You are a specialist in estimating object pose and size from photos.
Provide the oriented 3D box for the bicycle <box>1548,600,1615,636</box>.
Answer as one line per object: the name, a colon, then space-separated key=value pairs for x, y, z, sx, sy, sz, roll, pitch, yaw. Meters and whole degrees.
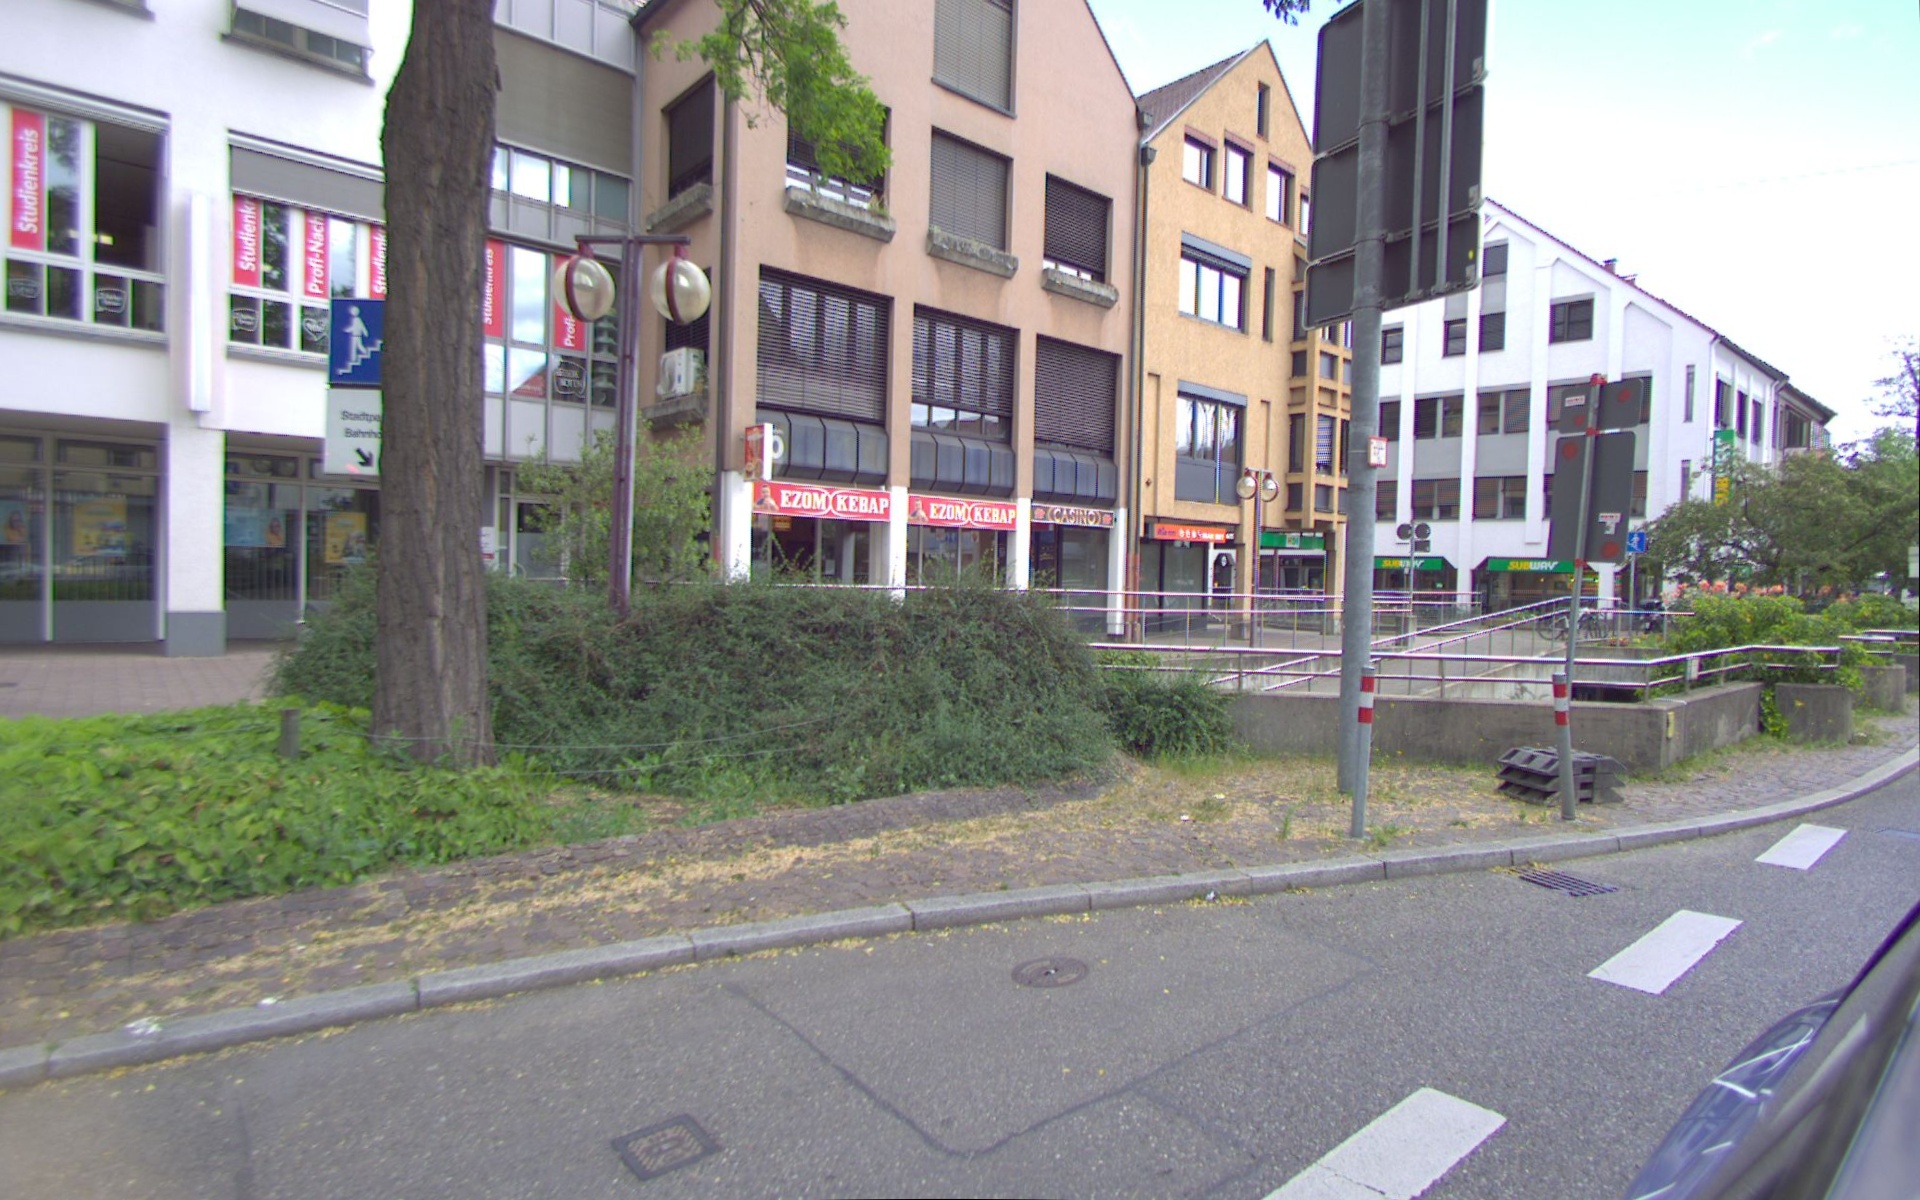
bicycle: x=17.856 y=0.505 z=29.081 sx=1.584 sy=0.981 sz=0.455 roll=2 pitch=1 yaw=36

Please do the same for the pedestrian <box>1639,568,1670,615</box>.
pedestrian: x=27.560 y=-0.326 z=40.167 sx=0.772 sy=1.846 sz=0.869 roll=0 pitch=0 yaw=-44

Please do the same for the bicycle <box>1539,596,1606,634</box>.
bicycle: x=17.397 y=0.424 z=28.764 sx=1.584 sy=1.014 sz=0.409 roll=2 pitch=1 yaw=37

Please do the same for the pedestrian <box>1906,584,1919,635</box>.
pedestrian: x=30.327 y=0.290 z=31.883 sx=0.672 sy=1.597 sz=0.653 roll=1 pitch=1 yaw=-40

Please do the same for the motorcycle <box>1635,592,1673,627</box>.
motorcycle: x=21.747 y=0.290 z=31.696 sx=1.960 sy=1.081 sz=0.464 roll=0 pitch=1 yaw=-41

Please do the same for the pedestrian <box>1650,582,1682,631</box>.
pedestrian: x=26.359 y=0.232 z=37.788 sx=0.882 sy=1.779 sz=0.931 roll=2 pitch=1 yaw=38
